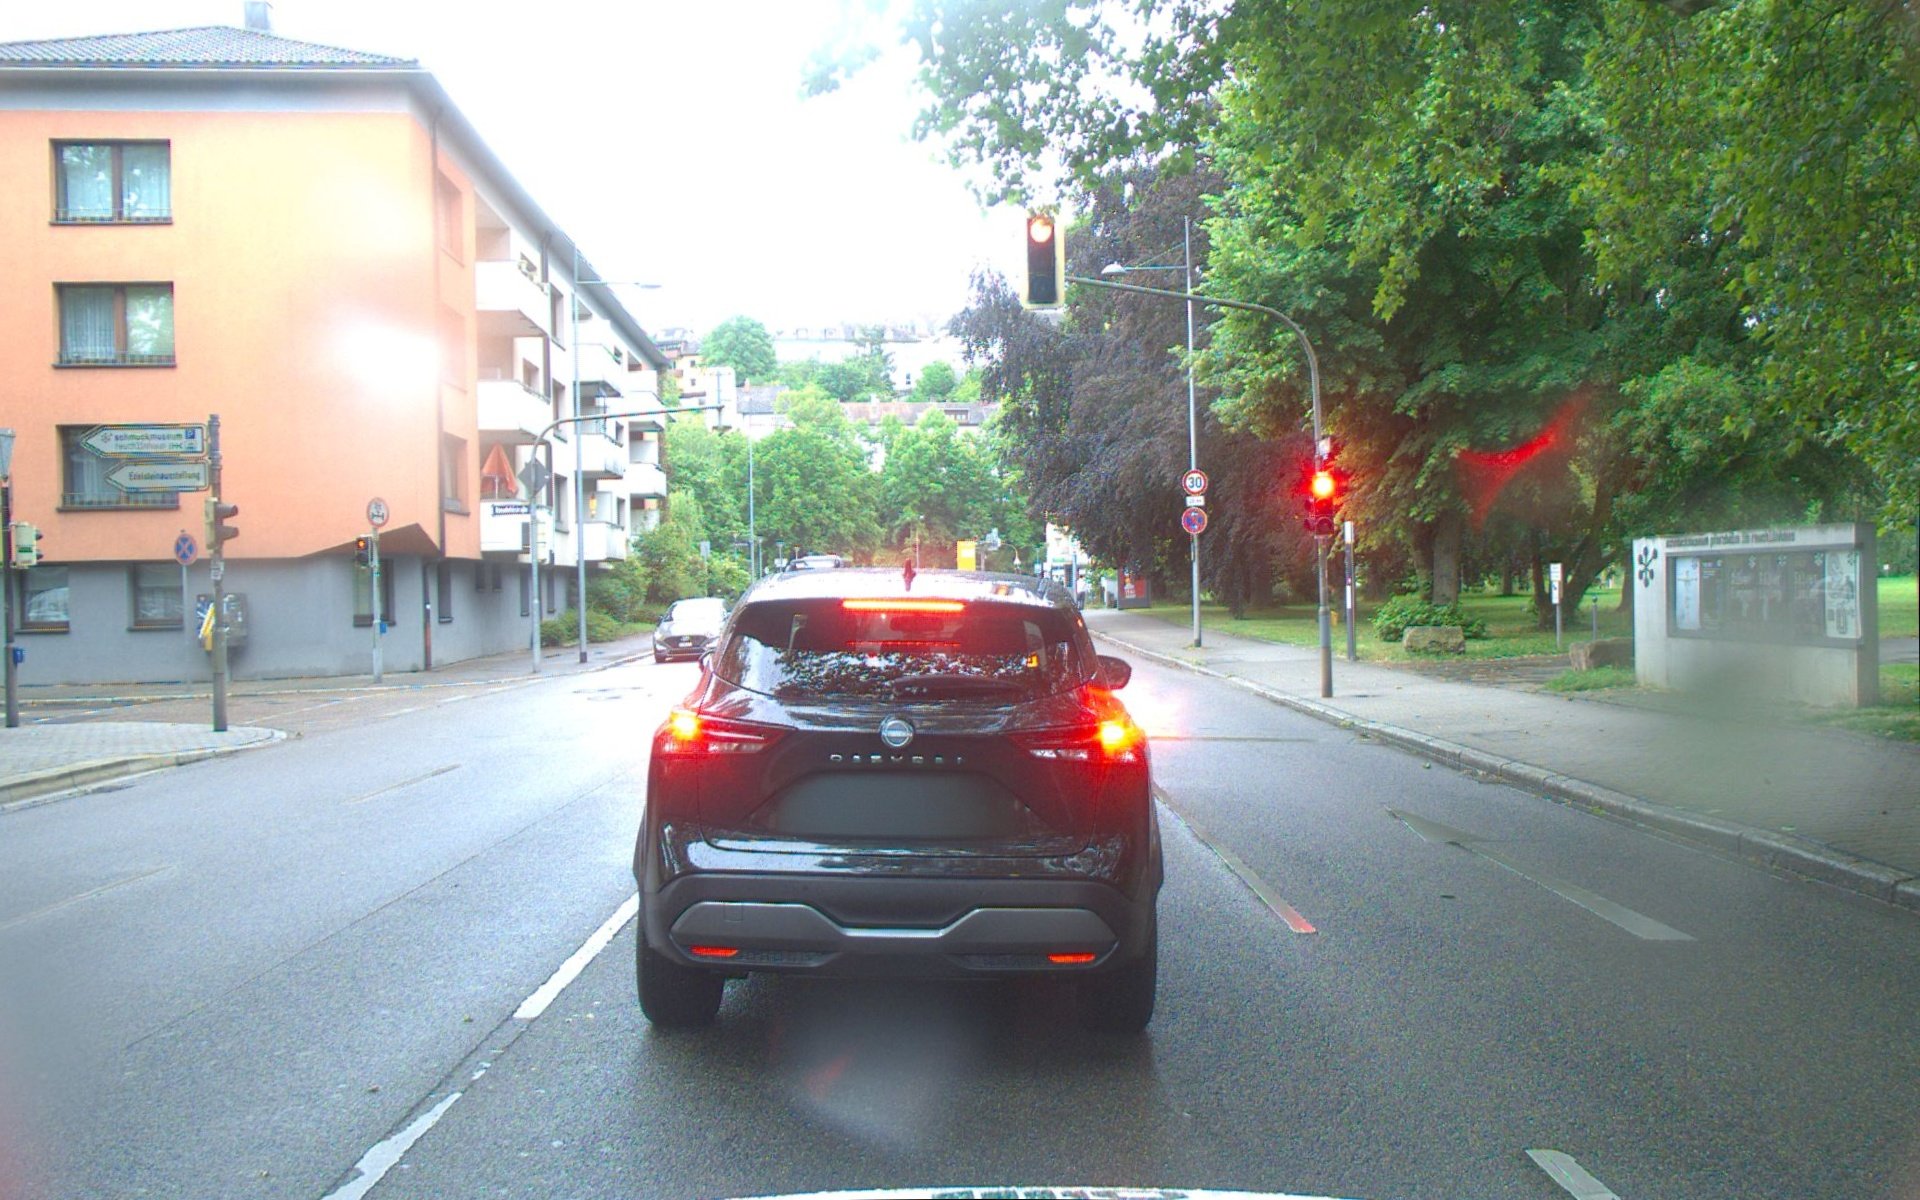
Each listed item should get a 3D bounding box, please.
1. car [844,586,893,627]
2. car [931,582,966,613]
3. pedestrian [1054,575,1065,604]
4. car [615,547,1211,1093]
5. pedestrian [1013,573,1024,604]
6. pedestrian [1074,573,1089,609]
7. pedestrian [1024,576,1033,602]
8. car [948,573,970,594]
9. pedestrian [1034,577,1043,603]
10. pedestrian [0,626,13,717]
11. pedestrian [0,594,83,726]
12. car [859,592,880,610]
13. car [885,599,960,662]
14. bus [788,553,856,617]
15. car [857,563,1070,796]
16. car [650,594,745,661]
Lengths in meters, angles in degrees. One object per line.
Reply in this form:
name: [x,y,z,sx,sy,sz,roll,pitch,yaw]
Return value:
car: [-3.421,0.241,62.233,1.591,1.439,3.454,-2,0,0]
car: [-0.553,-0.130,80.443,1.591,1.439,3.454,-2,0,0]
pedestrian: [6.308,-0.654,104.490,0.606,1.810,0.550,-2,0,-1]
car: [-0.164,0.673,6.983,1.769,1.618,3.999,1,0,-1]
pedestrian: [4.206,-0.814,118.405,0.752,2.222,0.711,1,-1,2]
pedestrian: [6.250,-0.468,85.178,0.606,1.810,0.778,-2,0,-1]
pedestrian: [4.468,-0.719,107.647,0.533,1.680,0.490,1,-1,0]
car: [-0.075,-1.340,136.444,1.714,1.662,3.634,-2,1,0]
pedestrian: [5.036,-0.624,106.295,0.504,1.684,0.550,1,-1,-1]
pedestrian: [-13.137,0.946,21.995,0.811,1.195,0.683,1,0,38]
pedestrian: [-13.055,0.816,23.188,1.188,1.772,0.989,1,0,42]
car: [-7.858,0.067,143.586,1.643,1.495,4.215,-3,1,-2]
car: [-0.953,0.727,41.149,1.772,1.442,4.029,0,0,-2]
bus: [-7.106,-0.741,86.654,2.710,3.026,11.779,-1,0,-1]
car: [0.055,0.601,14.657,1.588,1.738,3.771,-2,0,1]
car: [-6.417,0.641,40.847,1.772,1.441,4.029,-3,1,-2]
